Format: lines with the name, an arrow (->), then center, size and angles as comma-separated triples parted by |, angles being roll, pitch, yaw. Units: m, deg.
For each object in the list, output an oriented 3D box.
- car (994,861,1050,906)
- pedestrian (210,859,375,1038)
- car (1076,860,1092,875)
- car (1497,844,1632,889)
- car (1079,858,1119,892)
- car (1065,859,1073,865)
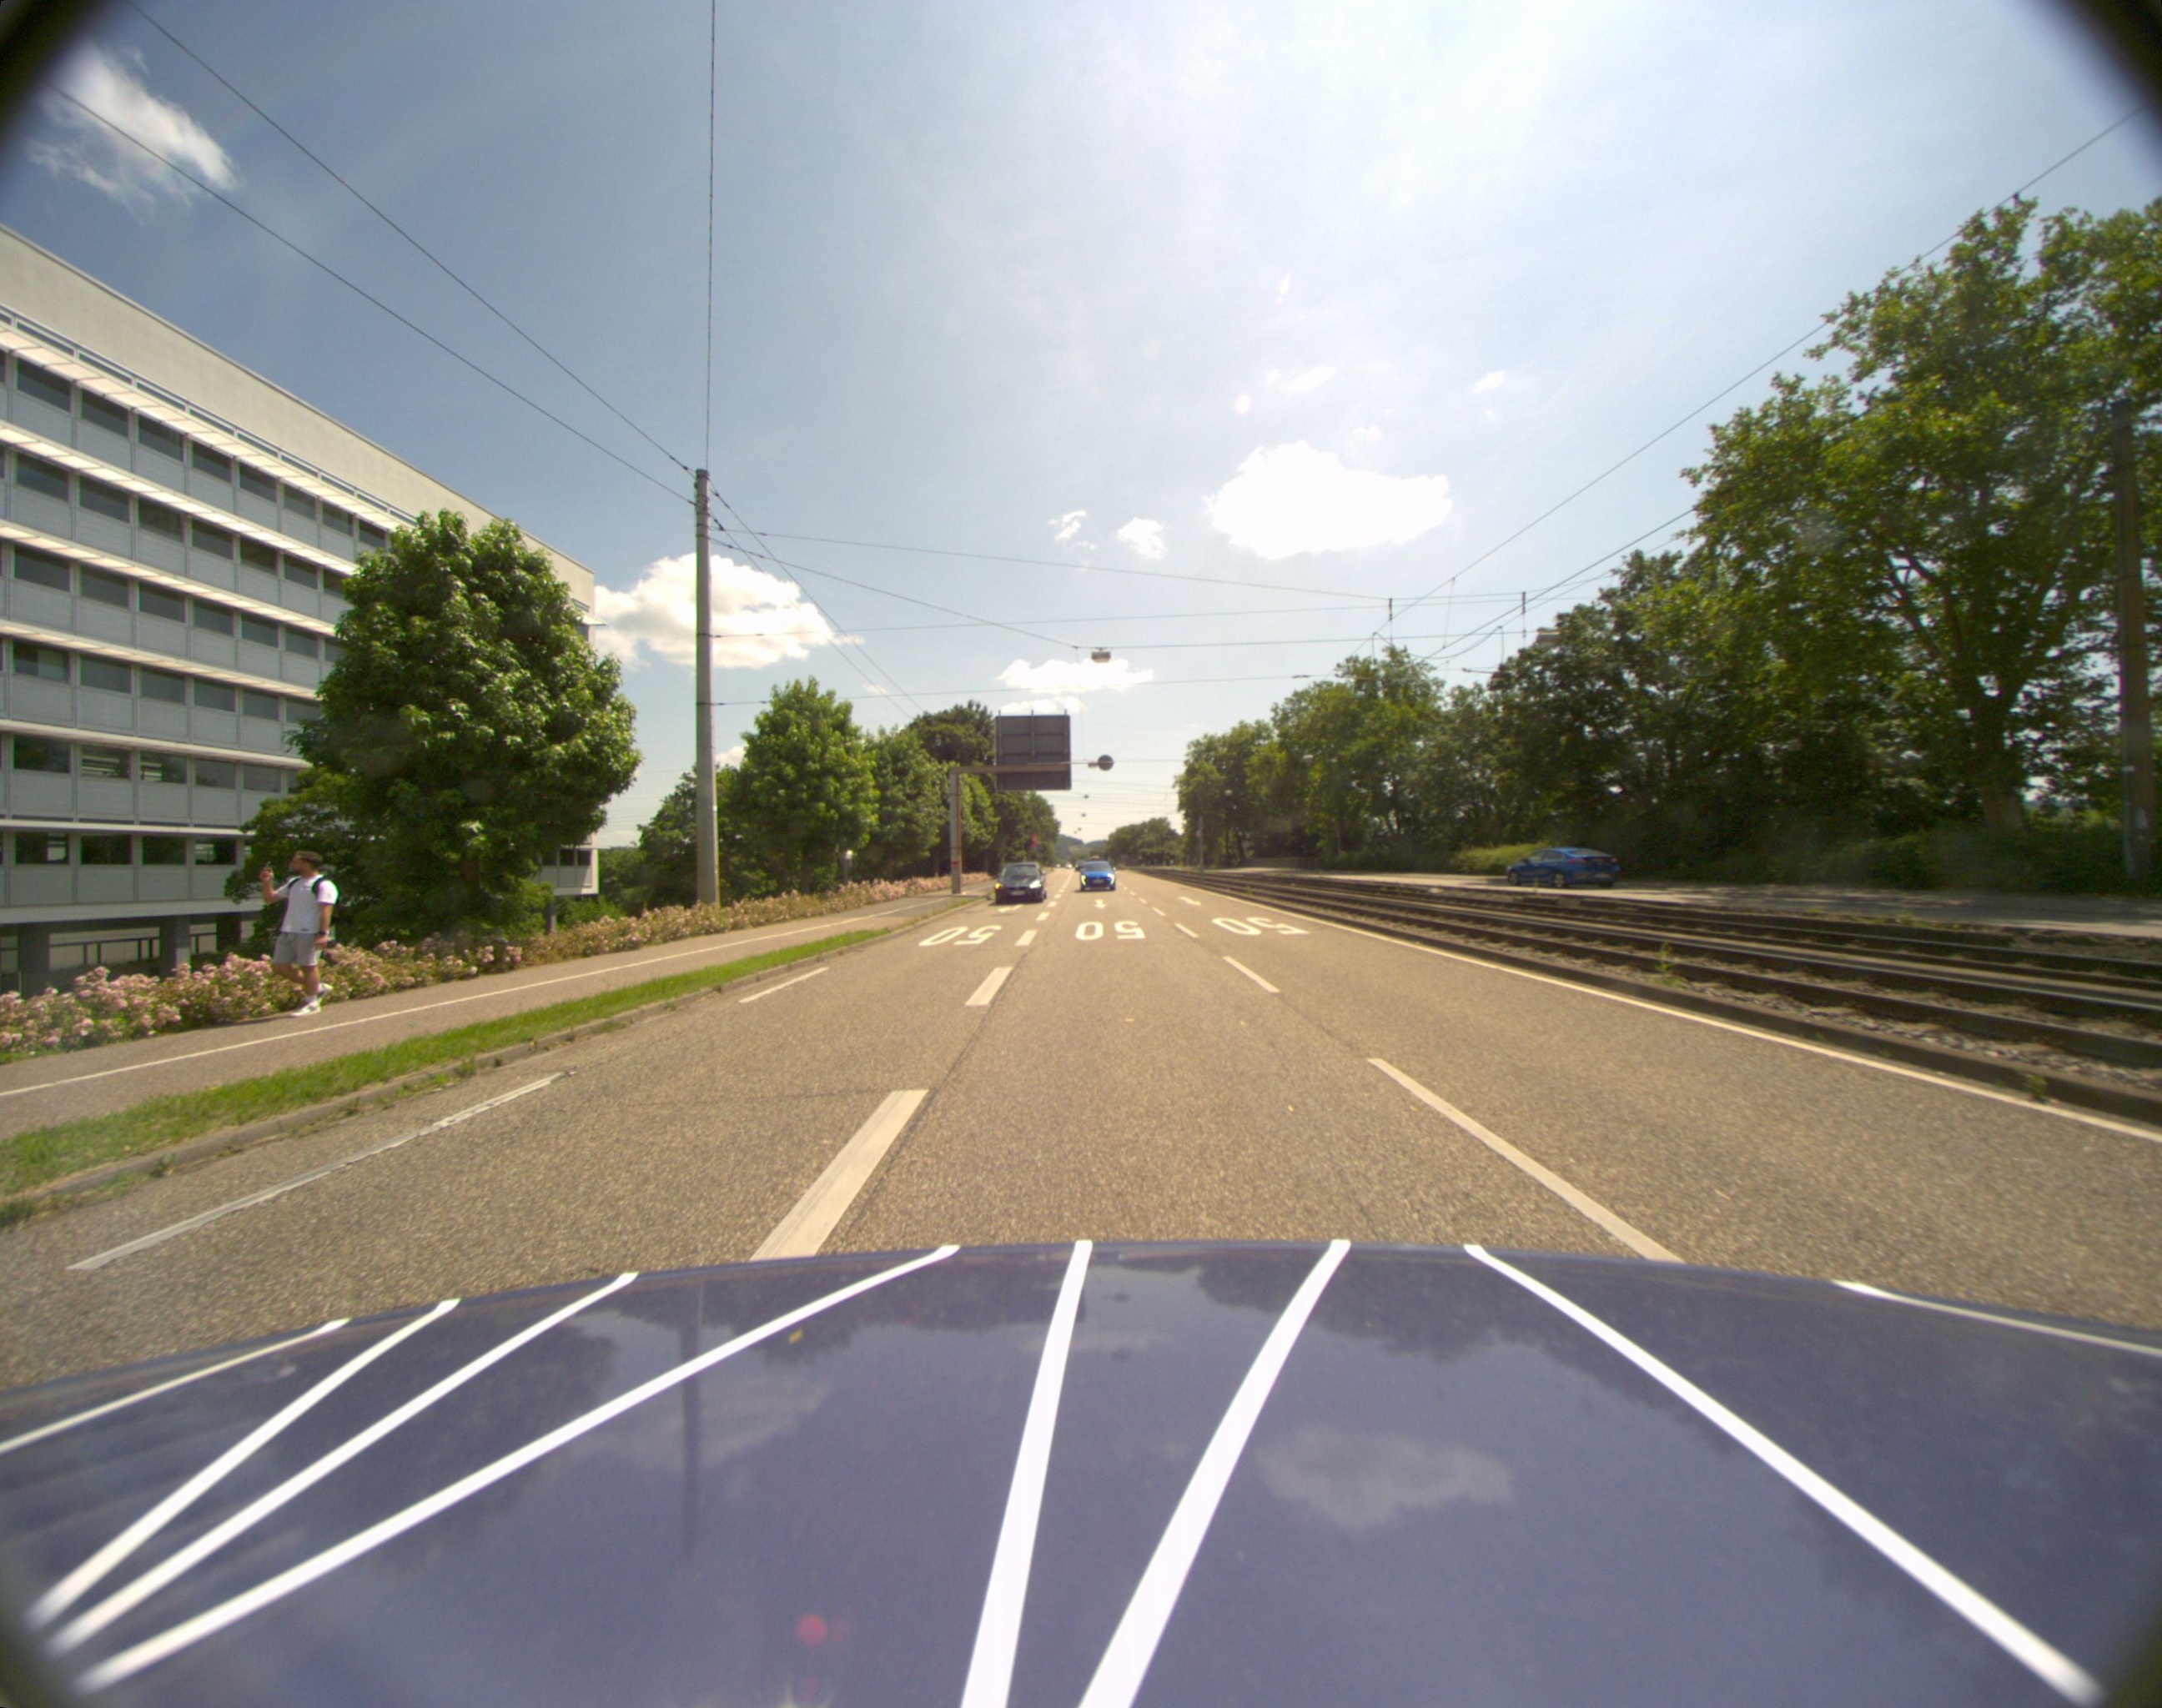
car -> -2.245, 1.118, 29.854 | 1.765, 1.517, 4.099 | -3, 0, 1
pedestrian -> -8.721, 1.001, 8.448 | 0.758, 1.838, 0.931 | -3, 1, 3
car -> 0.424, 1.840, 105.646 | 1.998, 2.002, 4.000 | -4, 0, 0
car -> 17.326, 0.424, 27.565 | 1.803, 1.495, 4.735 | 0, 0, -1
car -> 0.827, 0.971, 37.233 | 1.842, 1.446, 3.999 | -1, 1, 0
car -> -3.383, 2.278, 215.668 | 1.896, 1.331, 4.000 | -3, 0, 1
